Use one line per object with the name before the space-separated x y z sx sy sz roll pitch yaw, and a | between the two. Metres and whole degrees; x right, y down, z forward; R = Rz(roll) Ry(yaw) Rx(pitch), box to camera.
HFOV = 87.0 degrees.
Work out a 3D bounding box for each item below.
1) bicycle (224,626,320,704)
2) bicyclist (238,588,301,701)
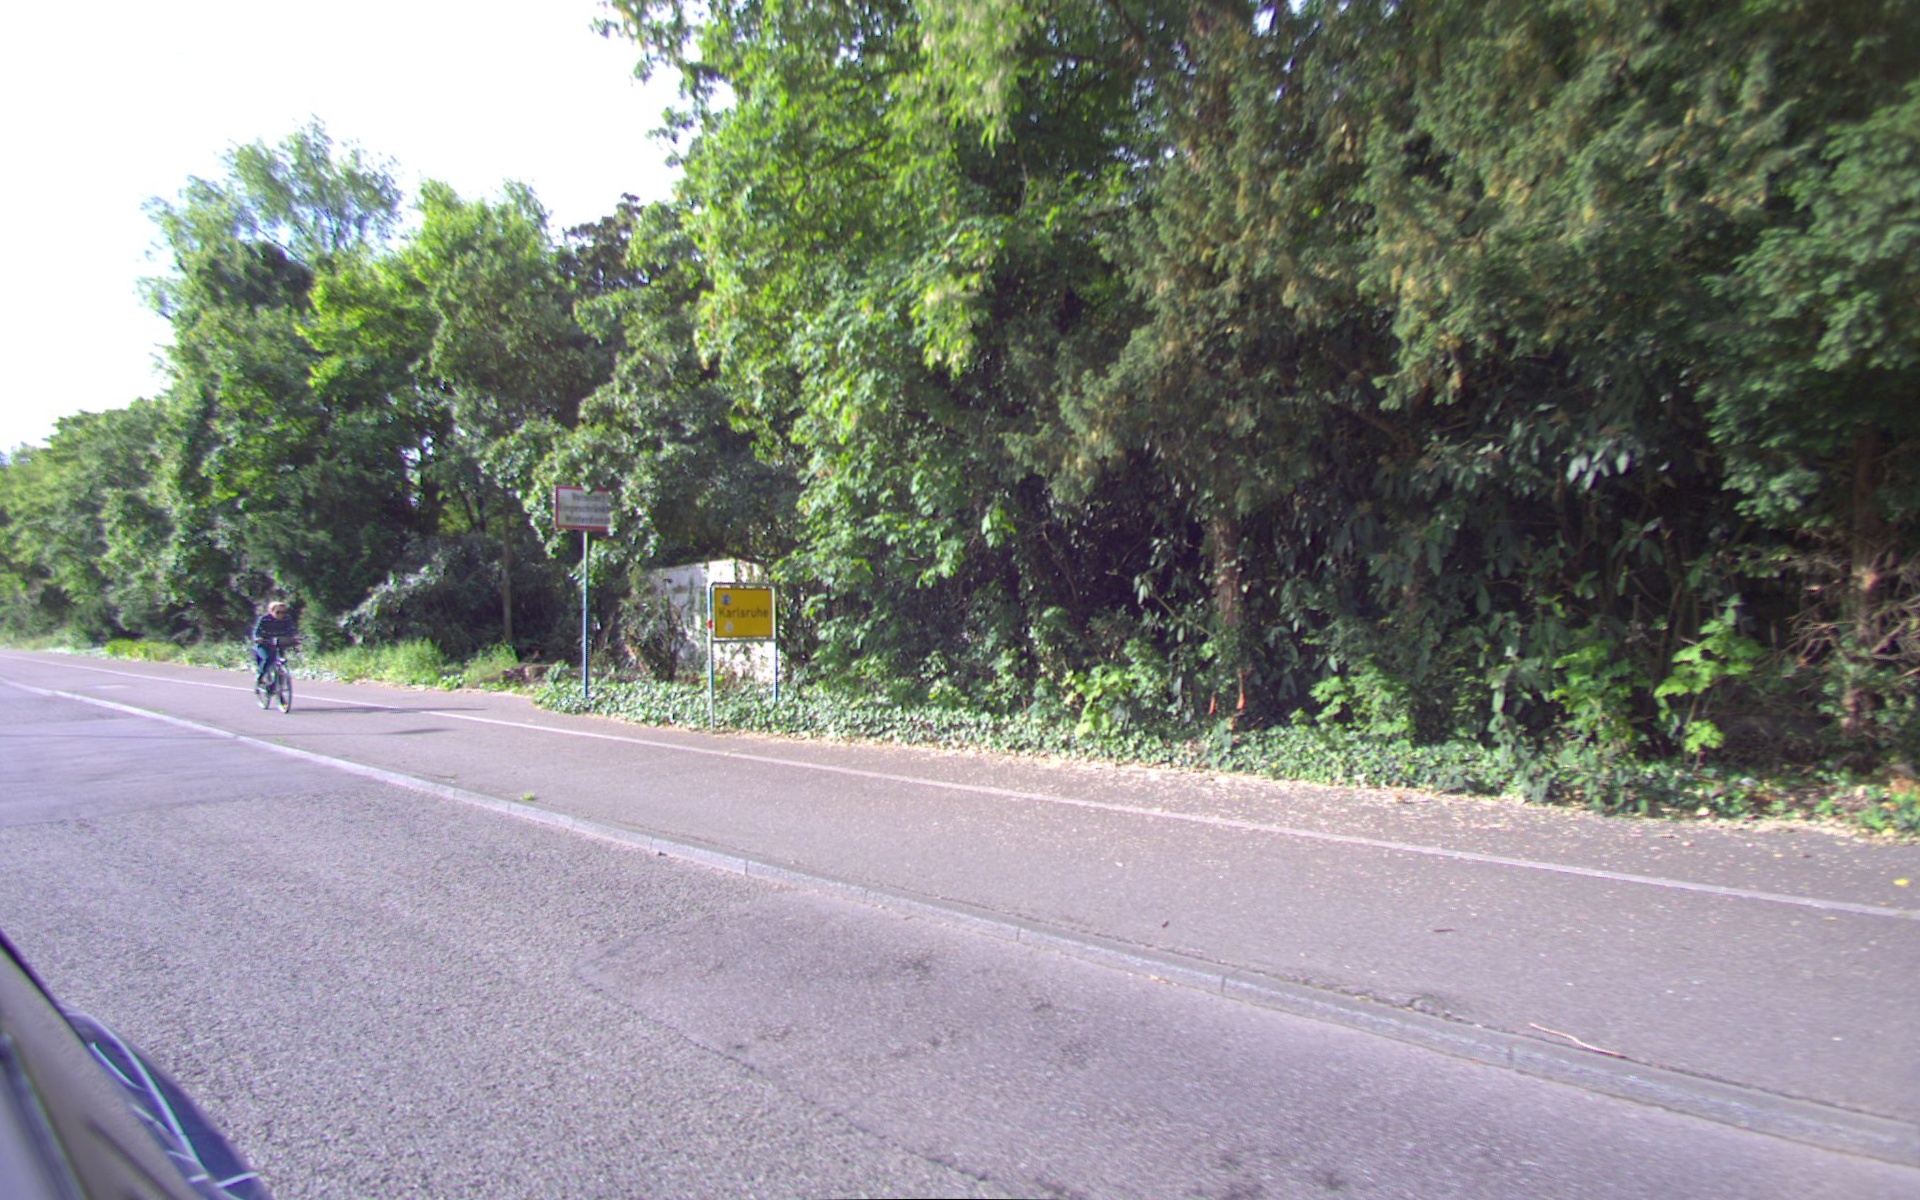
bicycle | -10.641 0.965 15.623 2.347 1.105 0.655 -1 -1 41
bicyclist | -10.704 0.669 15.686 0.883 1.689 0.602 -1 -1 41
